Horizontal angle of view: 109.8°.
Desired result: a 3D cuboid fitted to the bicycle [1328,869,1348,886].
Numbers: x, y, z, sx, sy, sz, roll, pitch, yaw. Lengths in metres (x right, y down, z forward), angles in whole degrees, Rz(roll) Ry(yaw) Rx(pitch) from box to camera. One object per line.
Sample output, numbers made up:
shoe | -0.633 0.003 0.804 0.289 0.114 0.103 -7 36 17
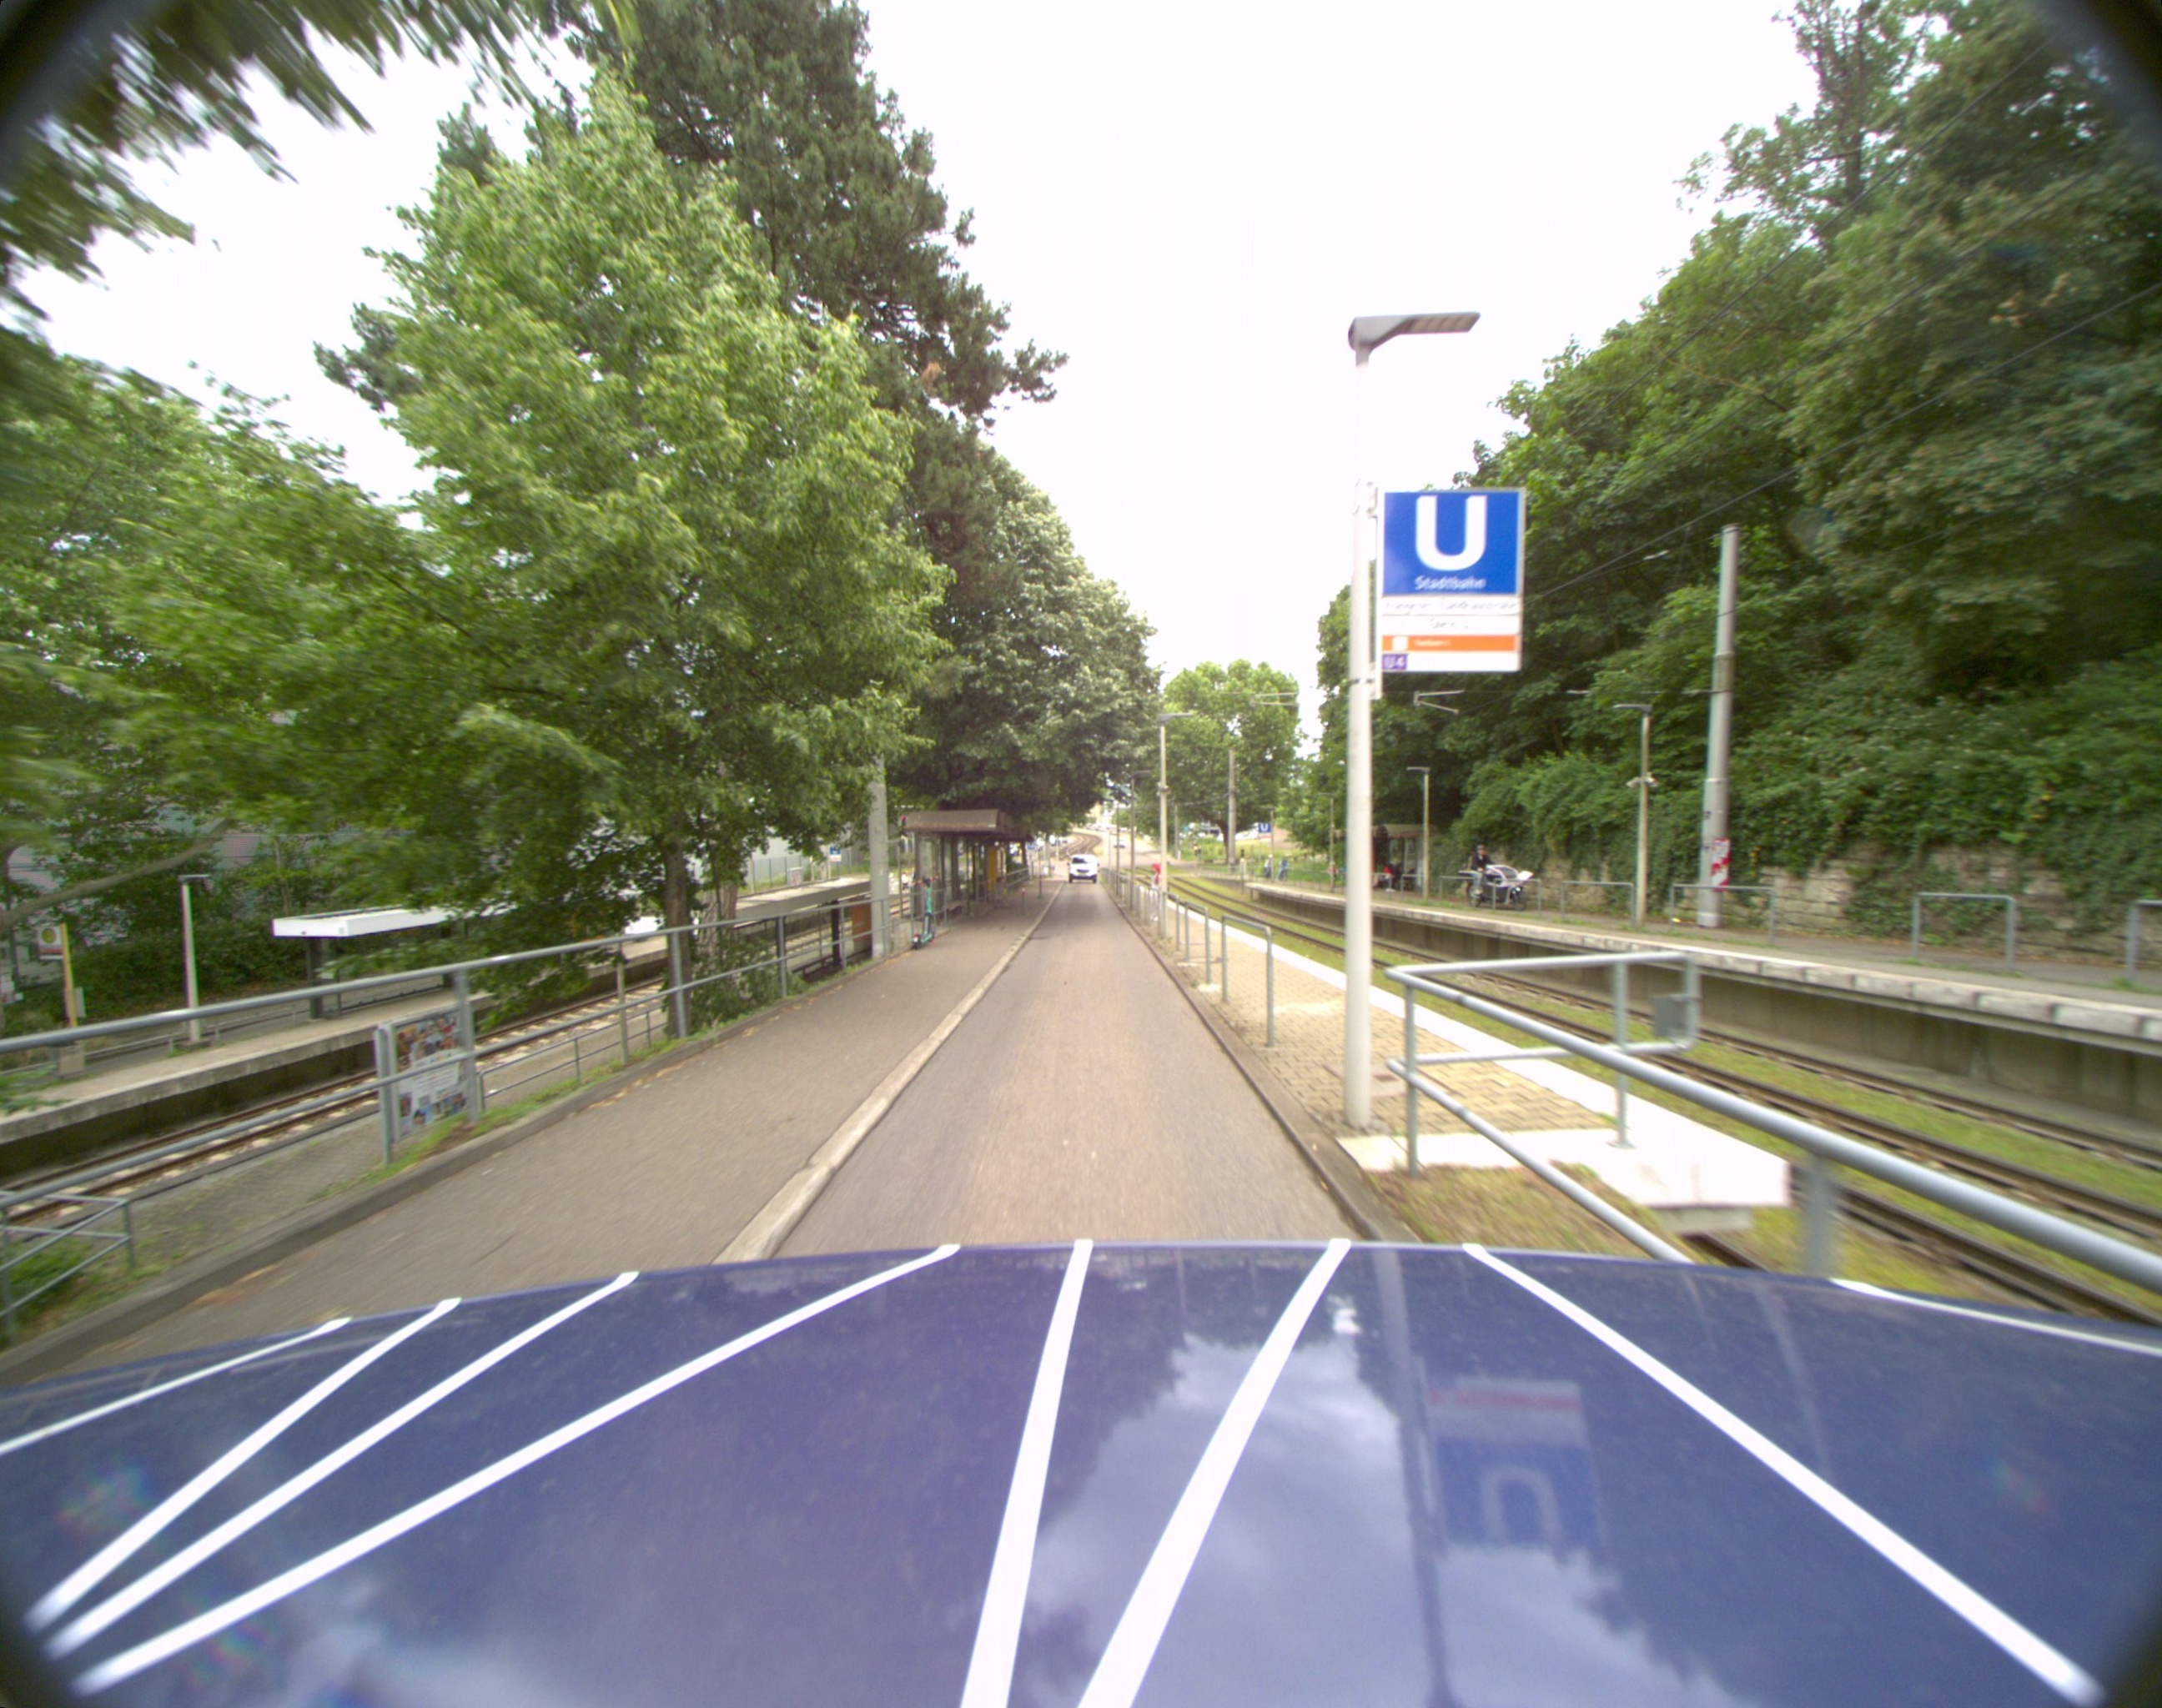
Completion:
bicycle | 12.400 1.142 36.665 0.451 0.776 1.565 -1 -1 1

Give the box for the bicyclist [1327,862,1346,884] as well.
bicyclist | 12.355 0.920 36.760 0.691 1.047 0.744 -1 0 0

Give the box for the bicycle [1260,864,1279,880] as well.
bicycle | 11.268 1.079 45.472 0.479 0.919 1.844 -2 -1 -5

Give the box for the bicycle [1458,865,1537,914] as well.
bicycle | 11.451 0.941 21.022 0.752 1.232 2.868 -2 -1 4

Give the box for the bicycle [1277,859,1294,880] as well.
bicycle | 11.989 0.904 44.505 0.464 1.181 1.940 -2 -1 0

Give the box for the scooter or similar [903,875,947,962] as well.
scooter or similar | -2.715 1.087 13.321 0.431 1.376 1.455 -2 1 0

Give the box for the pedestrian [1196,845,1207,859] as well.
pedestrian | 14.719 -0.235 92.763 1.115 1.724 0.695 -1 2 28

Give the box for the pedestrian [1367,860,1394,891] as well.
pedestrian | 13.124 0.938 33.321 0.823 1.315 0.774 -2 1 -5

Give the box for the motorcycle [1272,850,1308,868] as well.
motorcycle | 19.397 0.434 70.517 3.063 1.543 1.257 -2 1 -27

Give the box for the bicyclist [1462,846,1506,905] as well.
bicyclist | 11.459 0.610 21.635 0.706 1.619 1.033 -2 0 4

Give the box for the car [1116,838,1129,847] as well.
car | 7.646 -2.158 139.877 1.997 1.648 4.002 -2 1 8

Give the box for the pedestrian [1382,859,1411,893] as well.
pedestrian | 13.334 0.929 32.111 0.823 1.367 0.774 -2 1 -5

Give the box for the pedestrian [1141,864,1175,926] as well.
pedestrian | 1.921 1.009 18.988 0.739 1.493 0.627 -2 0 1

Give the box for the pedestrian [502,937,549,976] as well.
pedestrian | -18.830 3.475 25.767 0.778 1.160 0.954 -2 1 7

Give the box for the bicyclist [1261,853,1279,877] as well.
bicyclist | 11.274 0.654 45.446 0.747 1.422 0.907 -2 -1 -5

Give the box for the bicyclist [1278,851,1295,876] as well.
bicyclist | 12.044 0.544 44.613 0.732 1.434 0.840 -2 -1 -1

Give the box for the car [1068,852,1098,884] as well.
car | 0.185 0.855 49.373 1.810 1.910 4.478 -2 1 2
